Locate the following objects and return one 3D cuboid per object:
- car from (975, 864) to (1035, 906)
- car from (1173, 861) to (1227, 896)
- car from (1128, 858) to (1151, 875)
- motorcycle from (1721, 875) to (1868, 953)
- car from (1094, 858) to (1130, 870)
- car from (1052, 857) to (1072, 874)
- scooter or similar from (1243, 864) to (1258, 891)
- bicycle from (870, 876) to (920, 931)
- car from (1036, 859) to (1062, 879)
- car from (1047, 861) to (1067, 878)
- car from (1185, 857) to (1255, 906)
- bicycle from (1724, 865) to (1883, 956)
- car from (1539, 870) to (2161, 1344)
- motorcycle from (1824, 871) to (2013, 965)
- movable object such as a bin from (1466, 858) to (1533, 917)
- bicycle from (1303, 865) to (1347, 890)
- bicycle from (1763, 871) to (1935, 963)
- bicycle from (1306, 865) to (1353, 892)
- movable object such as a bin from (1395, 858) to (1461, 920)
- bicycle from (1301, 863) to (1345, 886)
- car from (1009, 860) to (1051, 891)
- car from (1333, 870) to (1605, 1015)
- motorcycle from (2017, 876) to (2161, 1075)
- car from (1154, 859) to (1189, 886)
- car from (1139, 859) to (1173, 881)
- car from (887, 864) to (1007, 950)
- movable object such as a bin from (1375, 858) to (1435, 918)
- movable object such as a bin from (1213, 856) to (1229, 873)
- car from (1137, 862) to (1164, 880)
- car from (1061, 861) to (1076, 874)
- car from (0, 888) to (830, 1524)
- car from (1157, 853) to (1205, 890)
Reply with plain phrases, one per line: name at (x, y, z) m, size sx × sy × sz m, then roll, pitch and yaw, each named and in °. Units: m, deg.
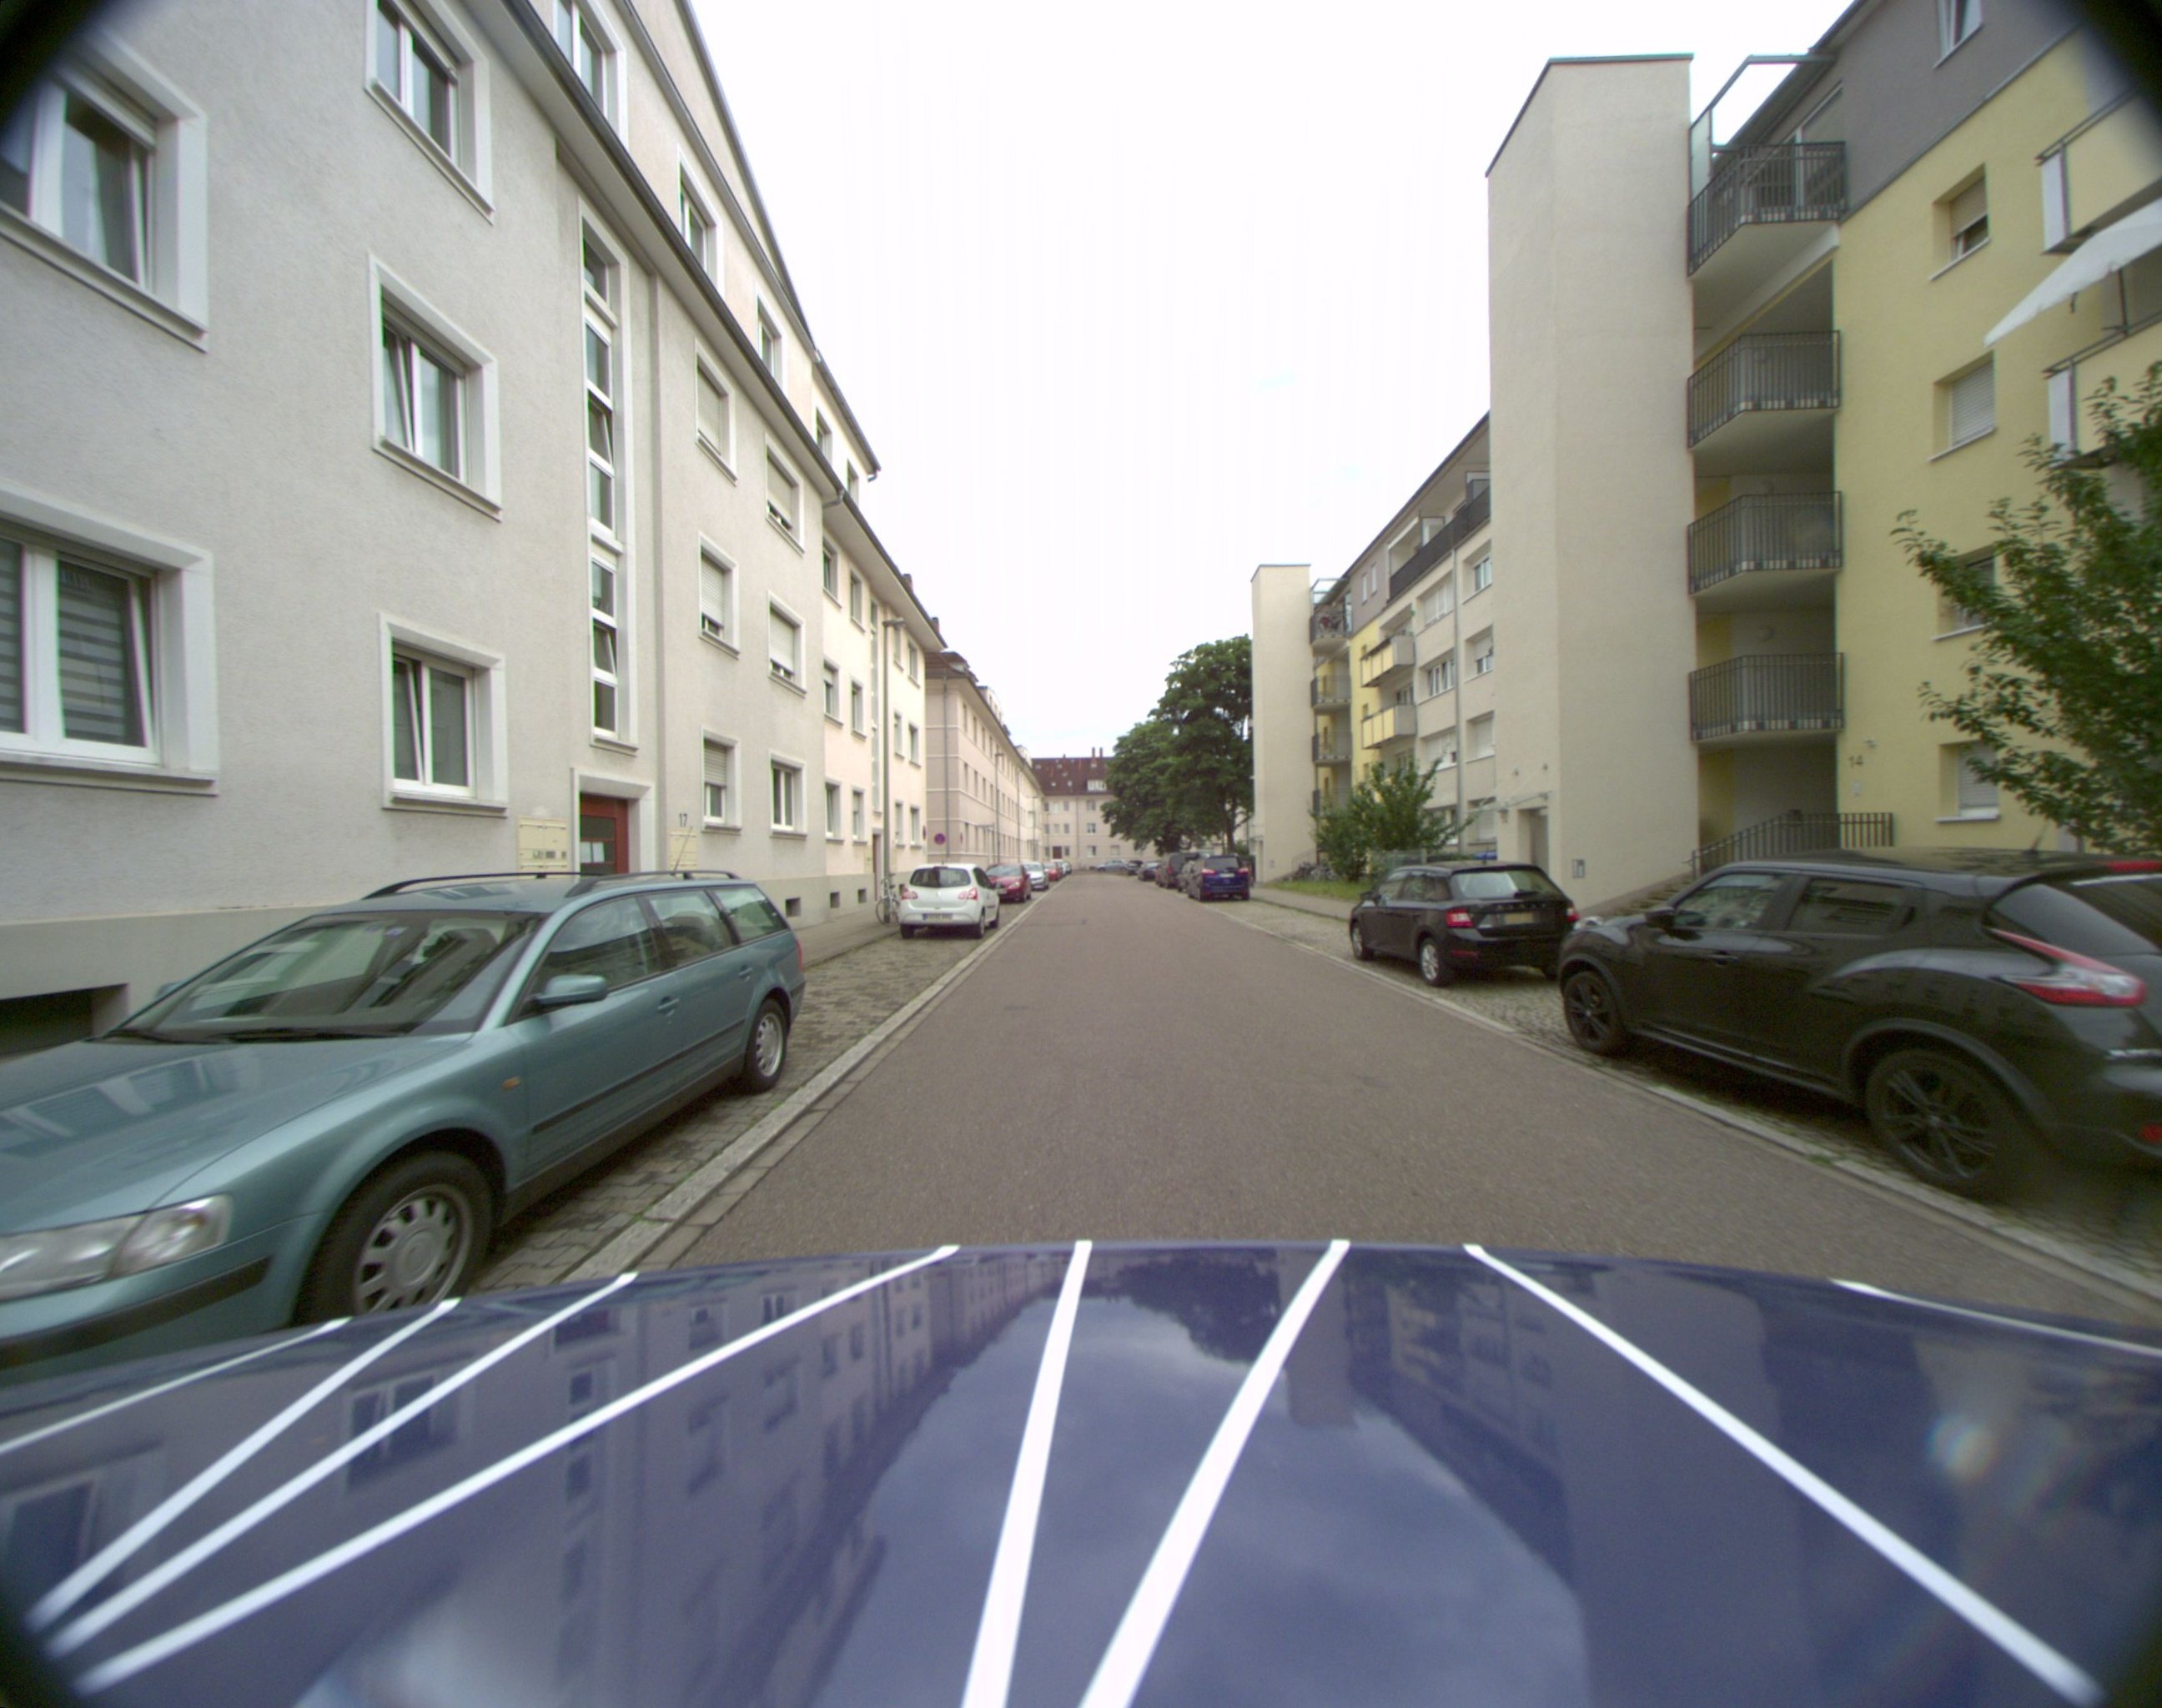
car at (-2.715, 1.096, 27.875) m, size 1.758 × 1.401 × 3.937 m, roll 0°, pitch 0°, yaw 1°
car at (5.300, 1.052, 34.202) m, size 1.625 × 1.437 × 3.818 m, roll -2°, pitch 0°, yaw -3°
car at (5.786, 1.201, 75.641) m, size 2.000 × 1.566 × 4.210 m, roll -3°, pitch 0°, yaw 1°
motorcycle at (10.695, 0.882, 11.421) m, size 1.619 × 1.122 × 0.690 m, roll 0°, pitch 0°, yaw -3°
car at (4.047, 1.276, 98.917) m, size 4.545 × 1.550 × 1.565 m, roll 0°, pitch 0°, yaw 5°
car at (-1.784, 1.089, 73.682) m, size 1.764 × 1.595 × 3.956 m, roll 0°, pitch 0°, yaw 1°
scooter or similar at (7.838, 1.072, 35.205) m, size 0.438 × 1.236 × 1.136 m, roll 0°, pitch 0°, yaw 1°
bicycle at (-4.280, 1.106, 17.621) m, size 0.607 × 1.133 × 2.125 m, roll 0°, pitch 0°, yaw 0°
car at (-2.346, 1.086, 57.143) m, size 1.758 × 1.477 × 3.773 m, roll 0°, pitch 0°, yaw 1°
car at (-2.117, 1.380, 68.191) m, size 1.587 × 1.500 × 3.486 m, roll 0°, pitch 0°, yaw 1°
car at (5.060, 0.969, 28.296) m, size 1.804 × 1.617 × 4.472 m, roll -2°, pitch 0°, yaw 1°
bicycle at (10.116, 0.777, 10.670) m, size 1.727 × 1.218 × 0.609 m, roll 0°, pitch 0°, yaw -4°
car at (4.704, 0.933, 4.556) m, size 1.657 × 1.521 × 3.896 m, roll -3°, pitch 0°, yaw 3°
motorcycle at (10.320, 0.771, 9.391) m, size 1.753 × 1.122 × 0.594 m, roll 0°, pitch 0°, yaw -3°
movable object such as a bin at (10.904, 0.853, 19.846) m, size 1.004 × 1.438 × 1.314 m, roll -2°, pitch 0°, yaw 1°
bicycle at (11.243, 1.065, 35.059) m, size 1.855 × 1.130 × 0.717 m, roll 0°, pitch 0°, yaw 8°
bicycle at (10.114, 0.813, 10.029) m, size 1.727 × 1.135 × 0.609 m, roll -1°, pitch 0°, yaw -4°
bicycle at (10.943, 1.075, 33.474) m, size 1.857 × 1.130 × 0.716 m, roll 0°, pitch 0°, yaw -2°
movable object such as a bin at (8.488, 0.838, 18.643) m, size 1.004 × 1.438 × 1.314 m, roll -2°, pitch 0°, yaw 1°
bicycle at (11.373, 0.963, 35.759) m, size 1.855 × 1.014 × 0.671 m, roll 0°, pitch 0°, yaw 8°
car at (-2.501, 1.024, 38.053) m, size 1.792 × 1.455 × 4.040 m, roll 0°, pitch 0°, yaw 1°
car at (4.848, 1.001, 10.164) m, size 1.647 × 1.430 × 3.856 m, roll -3°, pitch 0°, yaw 1°
motorcycle at (7.722, 0.828, 4.695) m, size 0.871 × 1.299 × 2.420 m, roll -2°, pitch 0°, yaw 1°
car at (5.412, 1.069, 45.904) m, size 1.625 × 1.559 × 3.614 m, roll 0°, pitch 0°, yaw -1°
car at (5.432, 1.165, 55.766) m, size 1.919 × 1.431 × 4.434 m, roll -3°, pitch 0°, yaw -1°
car at (-2.725, 1.026, 16.327) m, size 1.788 × 1.590 × 3.805 m, roll 0°, pitch 0°, yaw 2°
movable object such as a bin at (8.543, 0.871, 20.078) m, size 1.004 × 1.492 × 1.314 m, roll -2°, pitch 0°, yaw 1°
movable object such as a bin at (12.091, 0.895, 65.639) m, size 1.184 × 1.467 × 0.889 m, roll 0°, pitch 0°, yaw 4°
car at (5.565, 1.345, 61.131) m, size 1.765 × 1.257 × 4.210 m, roll -3°, pitch 0°, yaw 1°
car at (-1.355, 1.477, 84.334) m, size 1.563 × 1.334 × 3.789 m, roll 0°, pitch 0°, yaw 1°
car at (-2.944, 1.012, 4.092) m, size 1.729 × 1.460 × 4.264 m, roll -1°, pitch 0°, yaw 0°
car at (5.269, 0.902, 40.612) m, size 1.891 × 1.844 × 4.785 m, roll -1°, pitch 0°, yaw 0°
